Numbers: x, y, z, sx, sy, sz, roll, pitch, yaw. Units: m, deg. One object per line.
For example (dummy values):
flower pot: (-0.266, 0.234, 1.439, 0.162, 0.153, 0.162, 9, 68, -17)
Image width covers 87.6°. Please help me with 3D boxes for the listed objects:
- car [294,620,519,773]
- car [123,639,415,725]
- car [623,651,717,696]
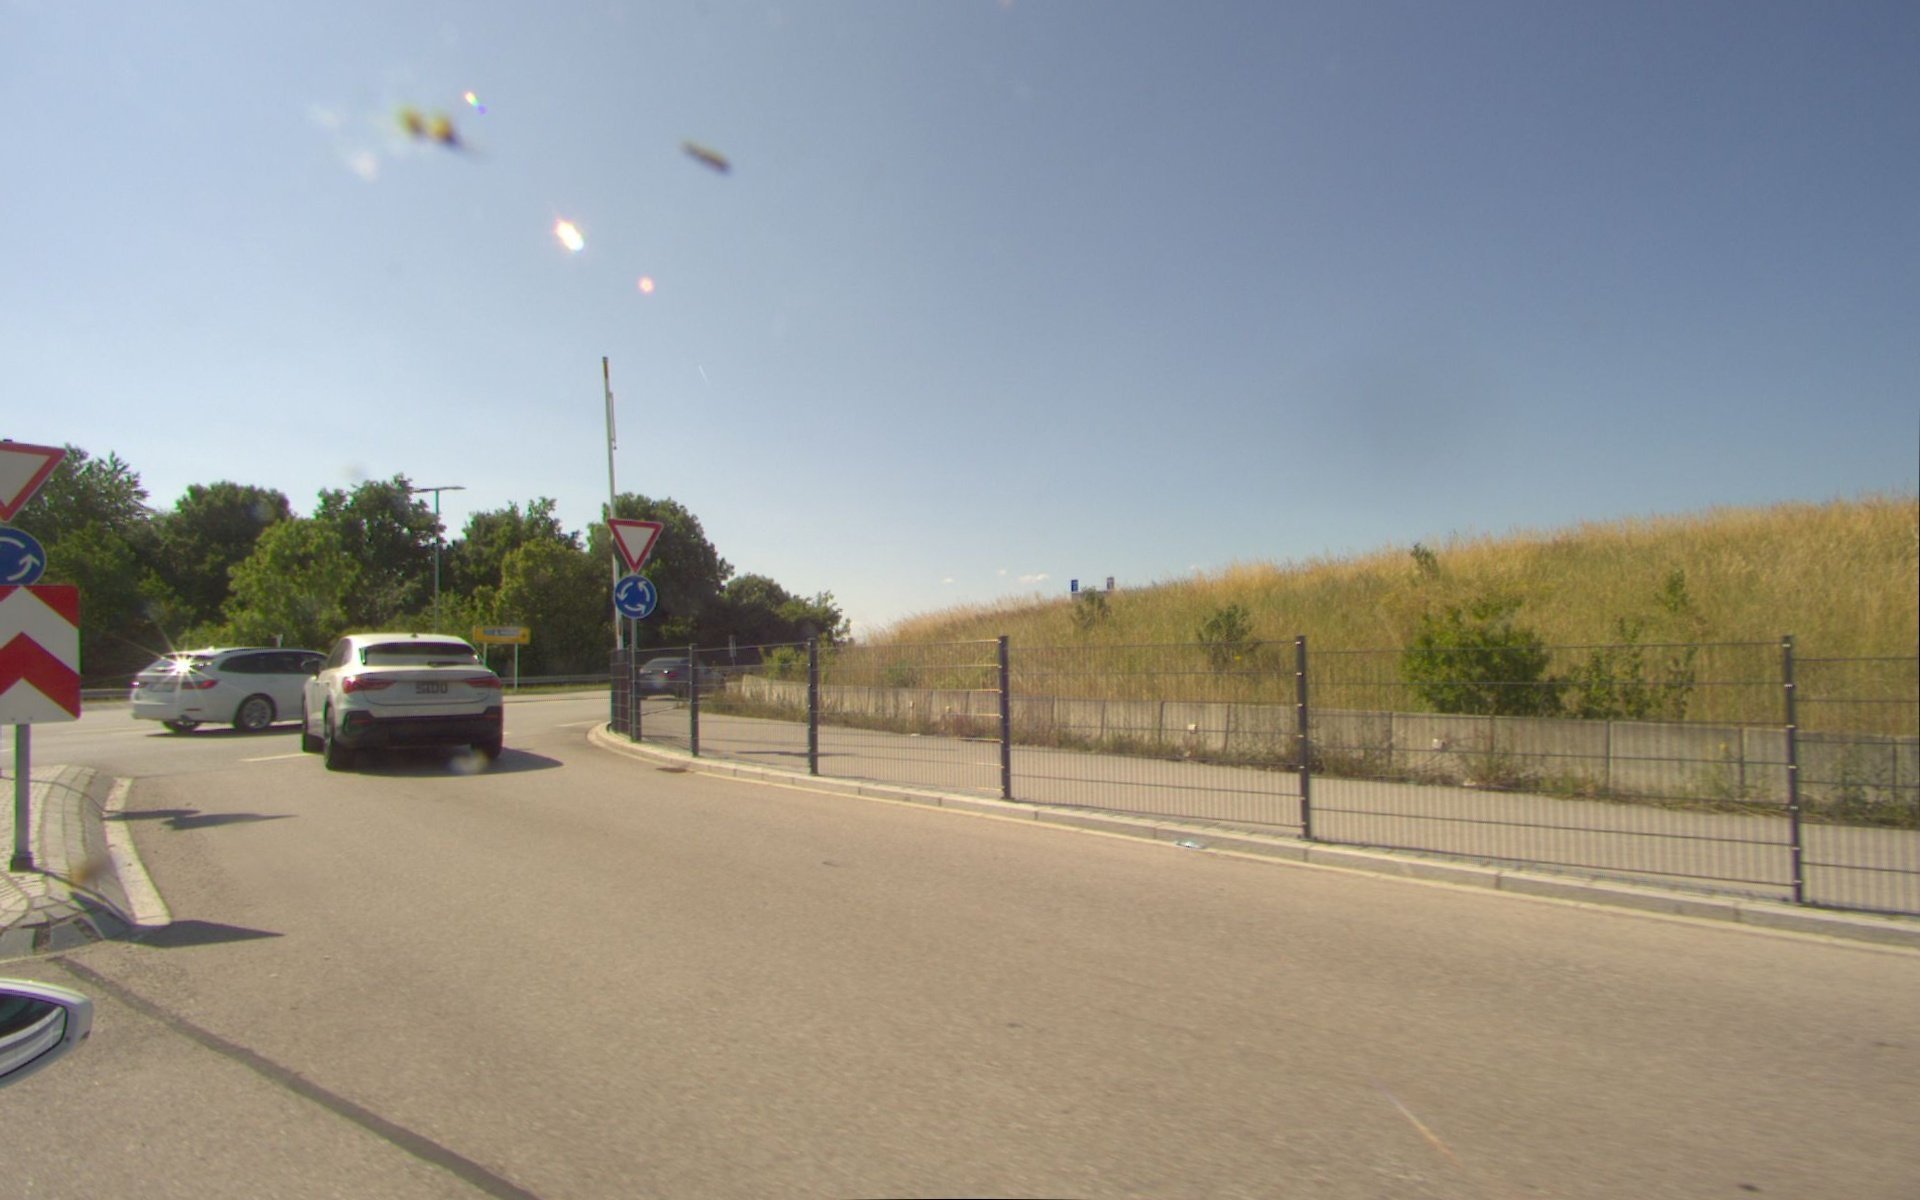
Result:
car: (-7.226, 1.137, 12.864, 1.826, 1.616, 4.292, 1, -3, -39)
car: (-12.336, 1.452, 18.271, 1.545, 1.368, 4.338, -1, -4, 17)
car: (-10.029, 2.556, 35.045, 1.961, 1.470, 4.878, 0, -3, -2)
